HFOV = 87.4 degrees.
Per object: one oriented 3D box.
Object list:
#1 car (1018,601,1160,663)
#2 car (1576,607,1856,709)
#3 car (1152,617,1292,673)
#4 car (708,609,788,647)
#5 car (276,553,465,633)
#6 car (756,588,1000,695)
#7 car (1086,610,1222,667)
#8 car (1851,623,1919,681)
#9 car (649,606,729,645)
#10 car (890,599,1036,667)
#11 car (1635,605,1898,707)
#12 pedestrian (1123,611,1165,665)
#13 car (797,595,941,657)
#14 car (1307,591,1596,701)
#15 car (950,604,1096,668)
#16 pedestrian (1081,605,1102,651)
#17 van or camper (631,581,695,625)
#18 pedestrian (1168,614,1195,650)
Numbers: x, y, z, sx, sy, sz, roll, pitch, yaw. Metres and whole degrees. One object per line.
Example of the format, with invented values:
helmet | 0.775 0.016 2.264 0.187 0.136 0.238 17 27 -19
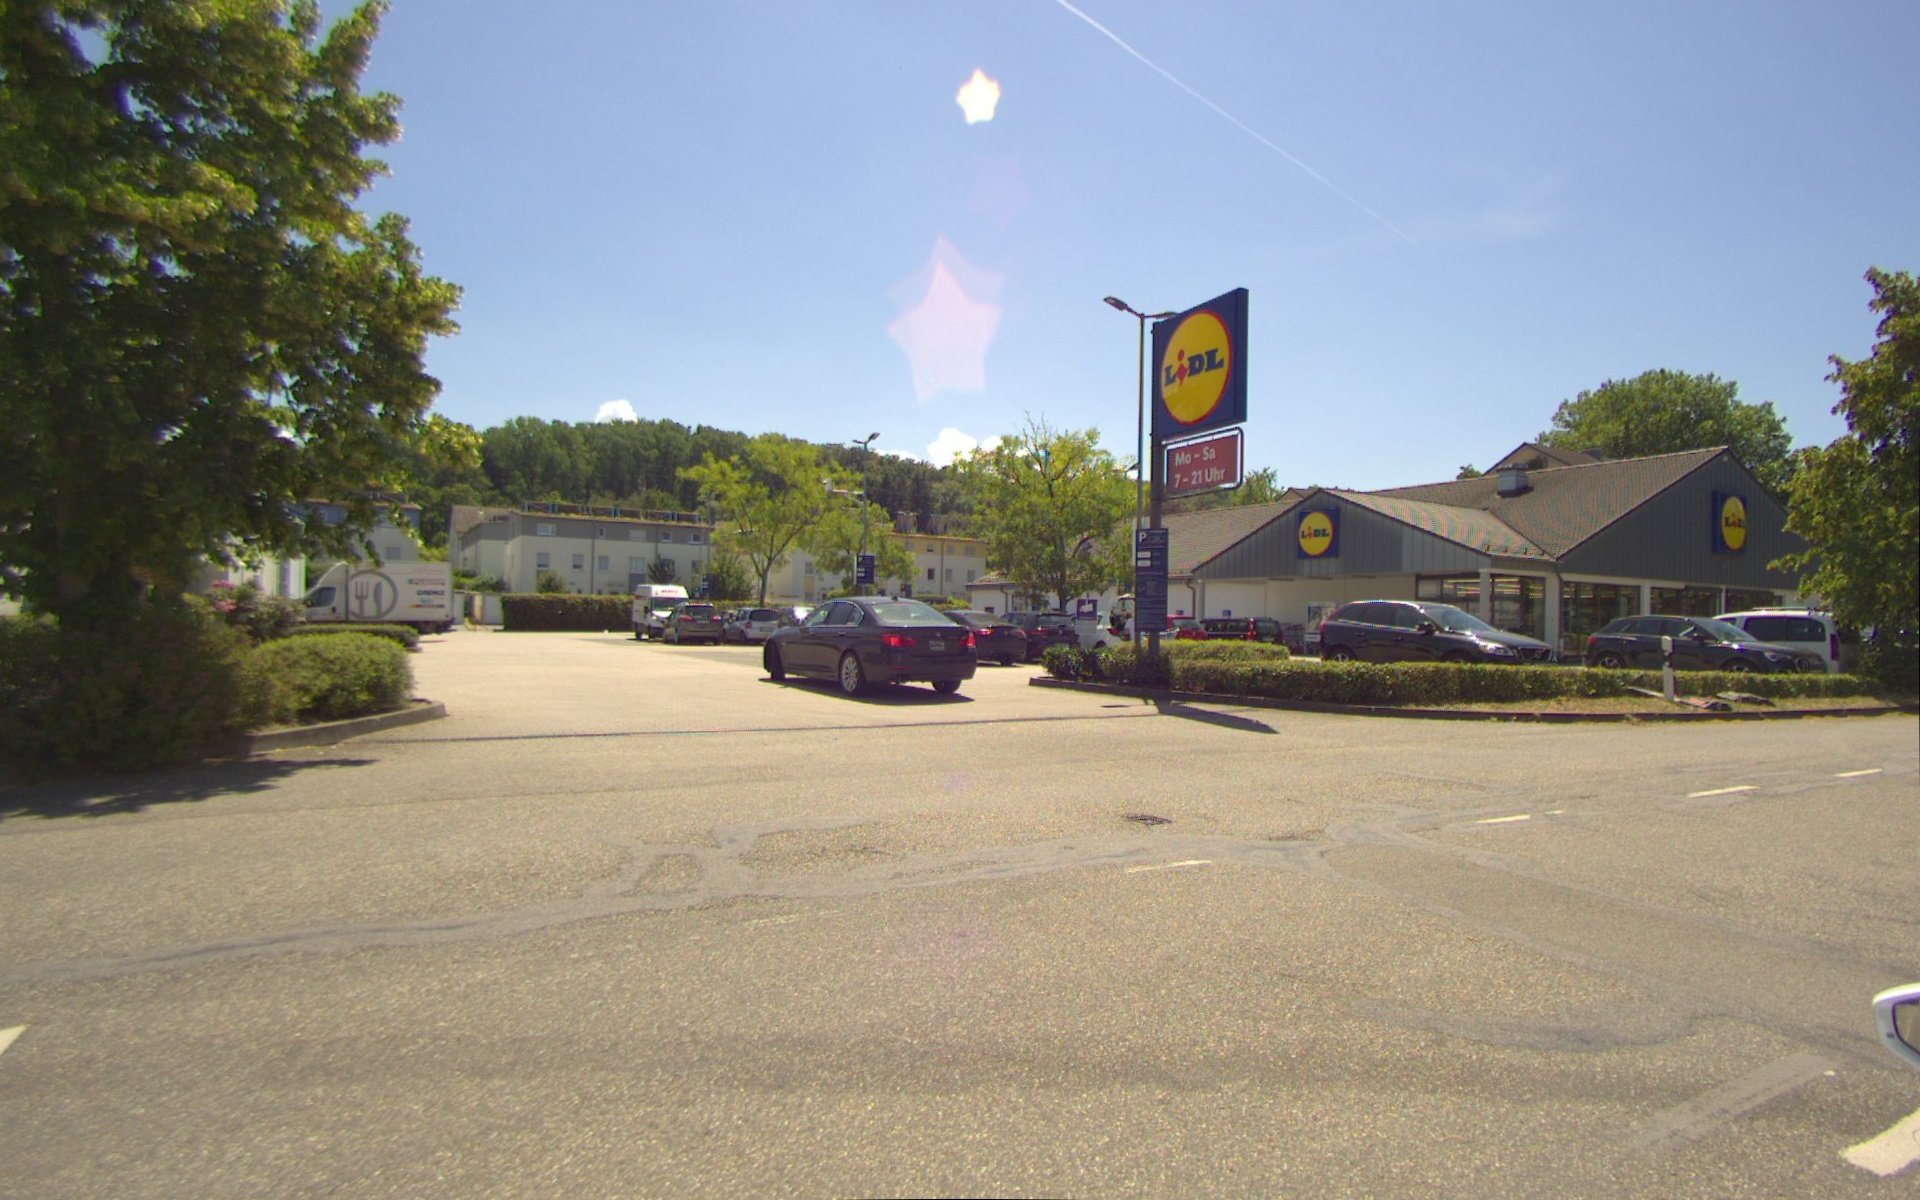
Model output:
car | 3.900 0.951 31.169 2.091 1.677 4.288 3 0 -32
car | 16.183 1.172 21.799 2.073 1.869 4.375 3 0 -23
car | 8.400 1.424 32.532 1.808 1.550 4.288 3 0 -32
car | -9.138 1.185 43.108 1.753 1.387 4.205 3 0 -37
car | -21.837 -0.218 37.465 5.832 2.662 2.270 2 0 -31
car | -1.499 0.594 16.338 1.919 1.419 4.644 3 0 -34
car | 6.091 1.182 32.040 1.808 1.550 4.288 3 0 -32
car | 29.431 1.626 29.571 1.872 1.642 4.380 2 1 -29
car | -11.189 1.015 41.300 1.753 1.387 4.205 3 0 -37
car | 0.006 0.846 27.190 1.753 1.610 4.205 3 0 -37
car | 18.463 1.209 23.224 1.883 2.006 4.334 3 0 -31
pedestrian | 5.289 1.083 28.862 0.877 1.503 0.805 2 0 38
car | -2.449 0.641 26.011 1.753 1.387 4.205 3 0 -37
car | 9.147 0.778 19.192 2.070 1.785 4.695 3 0 -24
car | 1.744 1.007 29.098 1.895 1.627 4.281 3 0 -37
pedestrian | 5.498 1.161 42.001 0.738 1.830 0.772 3 1 4
van or camper | -14.344 0.118 48.346 1.986 1.962 4.341 2 0 -29
pedestrian | 9.822 1.424 44.582 0.794 1.534 0.789 2 0 -43
